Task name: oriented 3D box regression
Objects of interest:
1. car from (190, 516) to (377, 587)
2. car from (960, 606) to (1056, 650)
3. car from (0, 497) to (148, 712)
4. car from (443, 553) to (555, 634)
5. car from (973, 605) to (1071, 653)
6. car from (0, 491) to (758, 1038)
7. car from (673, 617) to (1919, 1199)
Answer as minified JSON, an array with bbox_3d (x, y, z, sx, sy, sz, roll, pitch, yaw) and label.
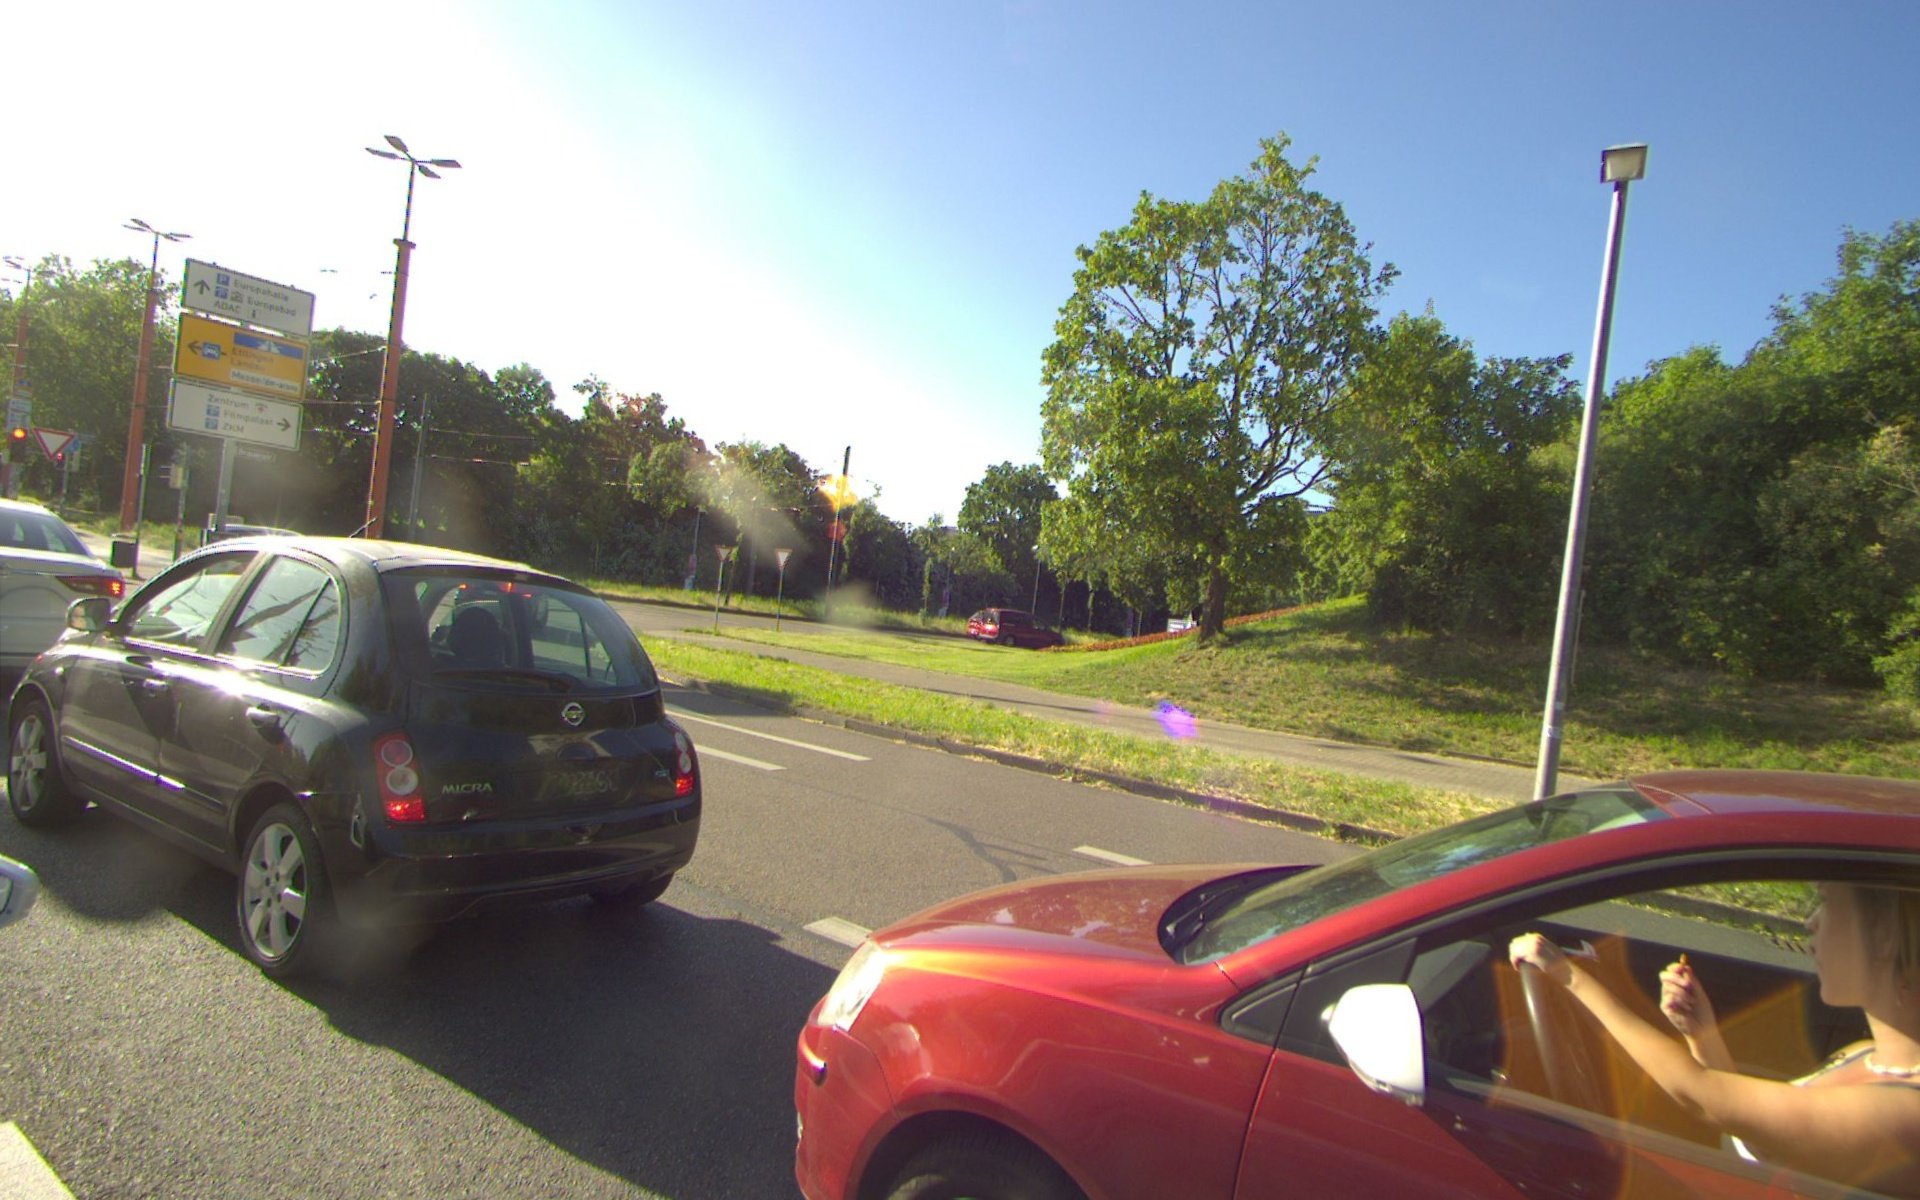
[{"bbox_3d":[-22.208,-1.568,33.306,4.877,1.594,1.985,8,-1,-30],"label":"car"},{"bbox_3d":[2.492,1.462,51.741,4.514,1.688,1.829,8,-1,-29],"label":"car"},{"bbox_3d":[-8.349,-0.163,7.978,4.077,1.472,1.717,7,-1,33],"label":"car"},{"bbox_3d":[-10.461,-0.167,23.101,1.726,1.486,3.878,7,-1,-18],"label":"car"},{"bbox_3d":[3.027,1.427,48.767,4.312,1.753,1.828,8,-1,-31],"label":"car"},{"bbox_3d":[-2.824,0.464,4.625,3.457,1.524,1.558,7,0,32],"label":"car"},{"bbox_3d":[1.368,0.990,1.894,3.634,1.434,1.624,7,-1,34],"label":"car"}]
